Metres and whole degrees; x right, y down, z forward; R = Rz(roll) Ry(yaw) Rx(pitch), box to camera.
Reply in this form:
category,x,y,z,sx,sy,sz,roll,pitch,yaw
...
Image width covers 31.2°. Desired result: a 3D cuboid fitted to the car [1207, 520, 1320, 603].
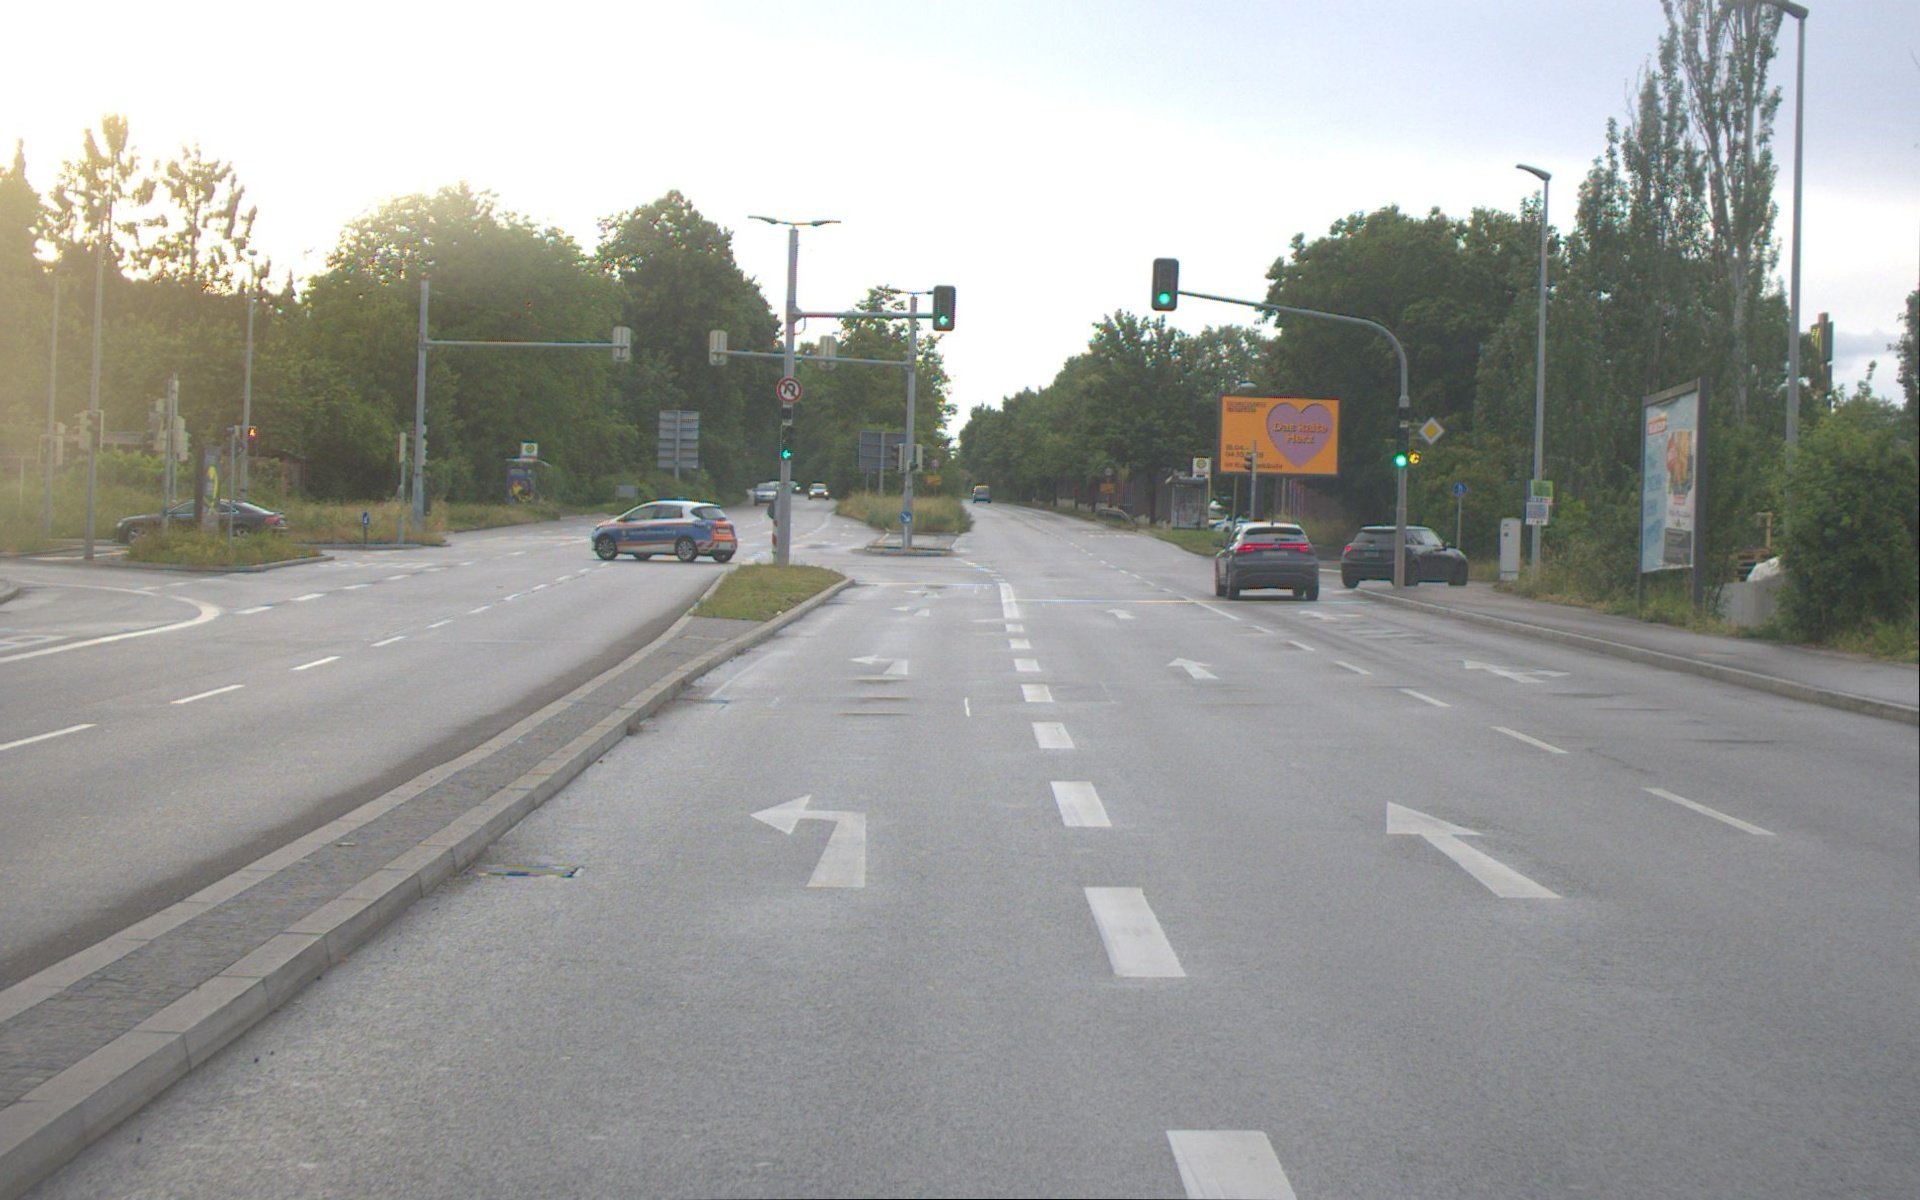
category,x,y,z,sx,sy,sz,roll,pitch,yaw
car,5.855,-0.777,66.693,1.745,1.465,4.166,2,2,0

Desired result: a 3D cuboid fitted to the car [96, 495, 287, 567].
category,x,y,z,sx,sy,sz,roll,pitch,yaw
car,-20.460,-1.830,91.722,4.648,1.577,2.173,4,0,-5

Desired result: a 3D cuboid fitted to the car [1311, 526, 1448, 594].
category,x,y,z,sx,sy,sz,roll,pitch,yaw
car,9.694,-0.925,79.175,1.747,1.465,4.160,3,2,27

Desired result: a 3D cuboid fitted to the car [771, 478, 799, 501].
category,x,y,z,sx,sy,sz,roll,pitch,yaw
car,-12.597,-7.968,248.051,1.768,1.590,4.489,2,2,-1

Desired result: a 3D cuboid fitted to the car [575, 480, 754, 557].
category,x,y,z,sx,sy,sz,roll,pitch,yaw
car,-7.602,-2.101,88.311,4.194,1.712,2.078,4,0,38
